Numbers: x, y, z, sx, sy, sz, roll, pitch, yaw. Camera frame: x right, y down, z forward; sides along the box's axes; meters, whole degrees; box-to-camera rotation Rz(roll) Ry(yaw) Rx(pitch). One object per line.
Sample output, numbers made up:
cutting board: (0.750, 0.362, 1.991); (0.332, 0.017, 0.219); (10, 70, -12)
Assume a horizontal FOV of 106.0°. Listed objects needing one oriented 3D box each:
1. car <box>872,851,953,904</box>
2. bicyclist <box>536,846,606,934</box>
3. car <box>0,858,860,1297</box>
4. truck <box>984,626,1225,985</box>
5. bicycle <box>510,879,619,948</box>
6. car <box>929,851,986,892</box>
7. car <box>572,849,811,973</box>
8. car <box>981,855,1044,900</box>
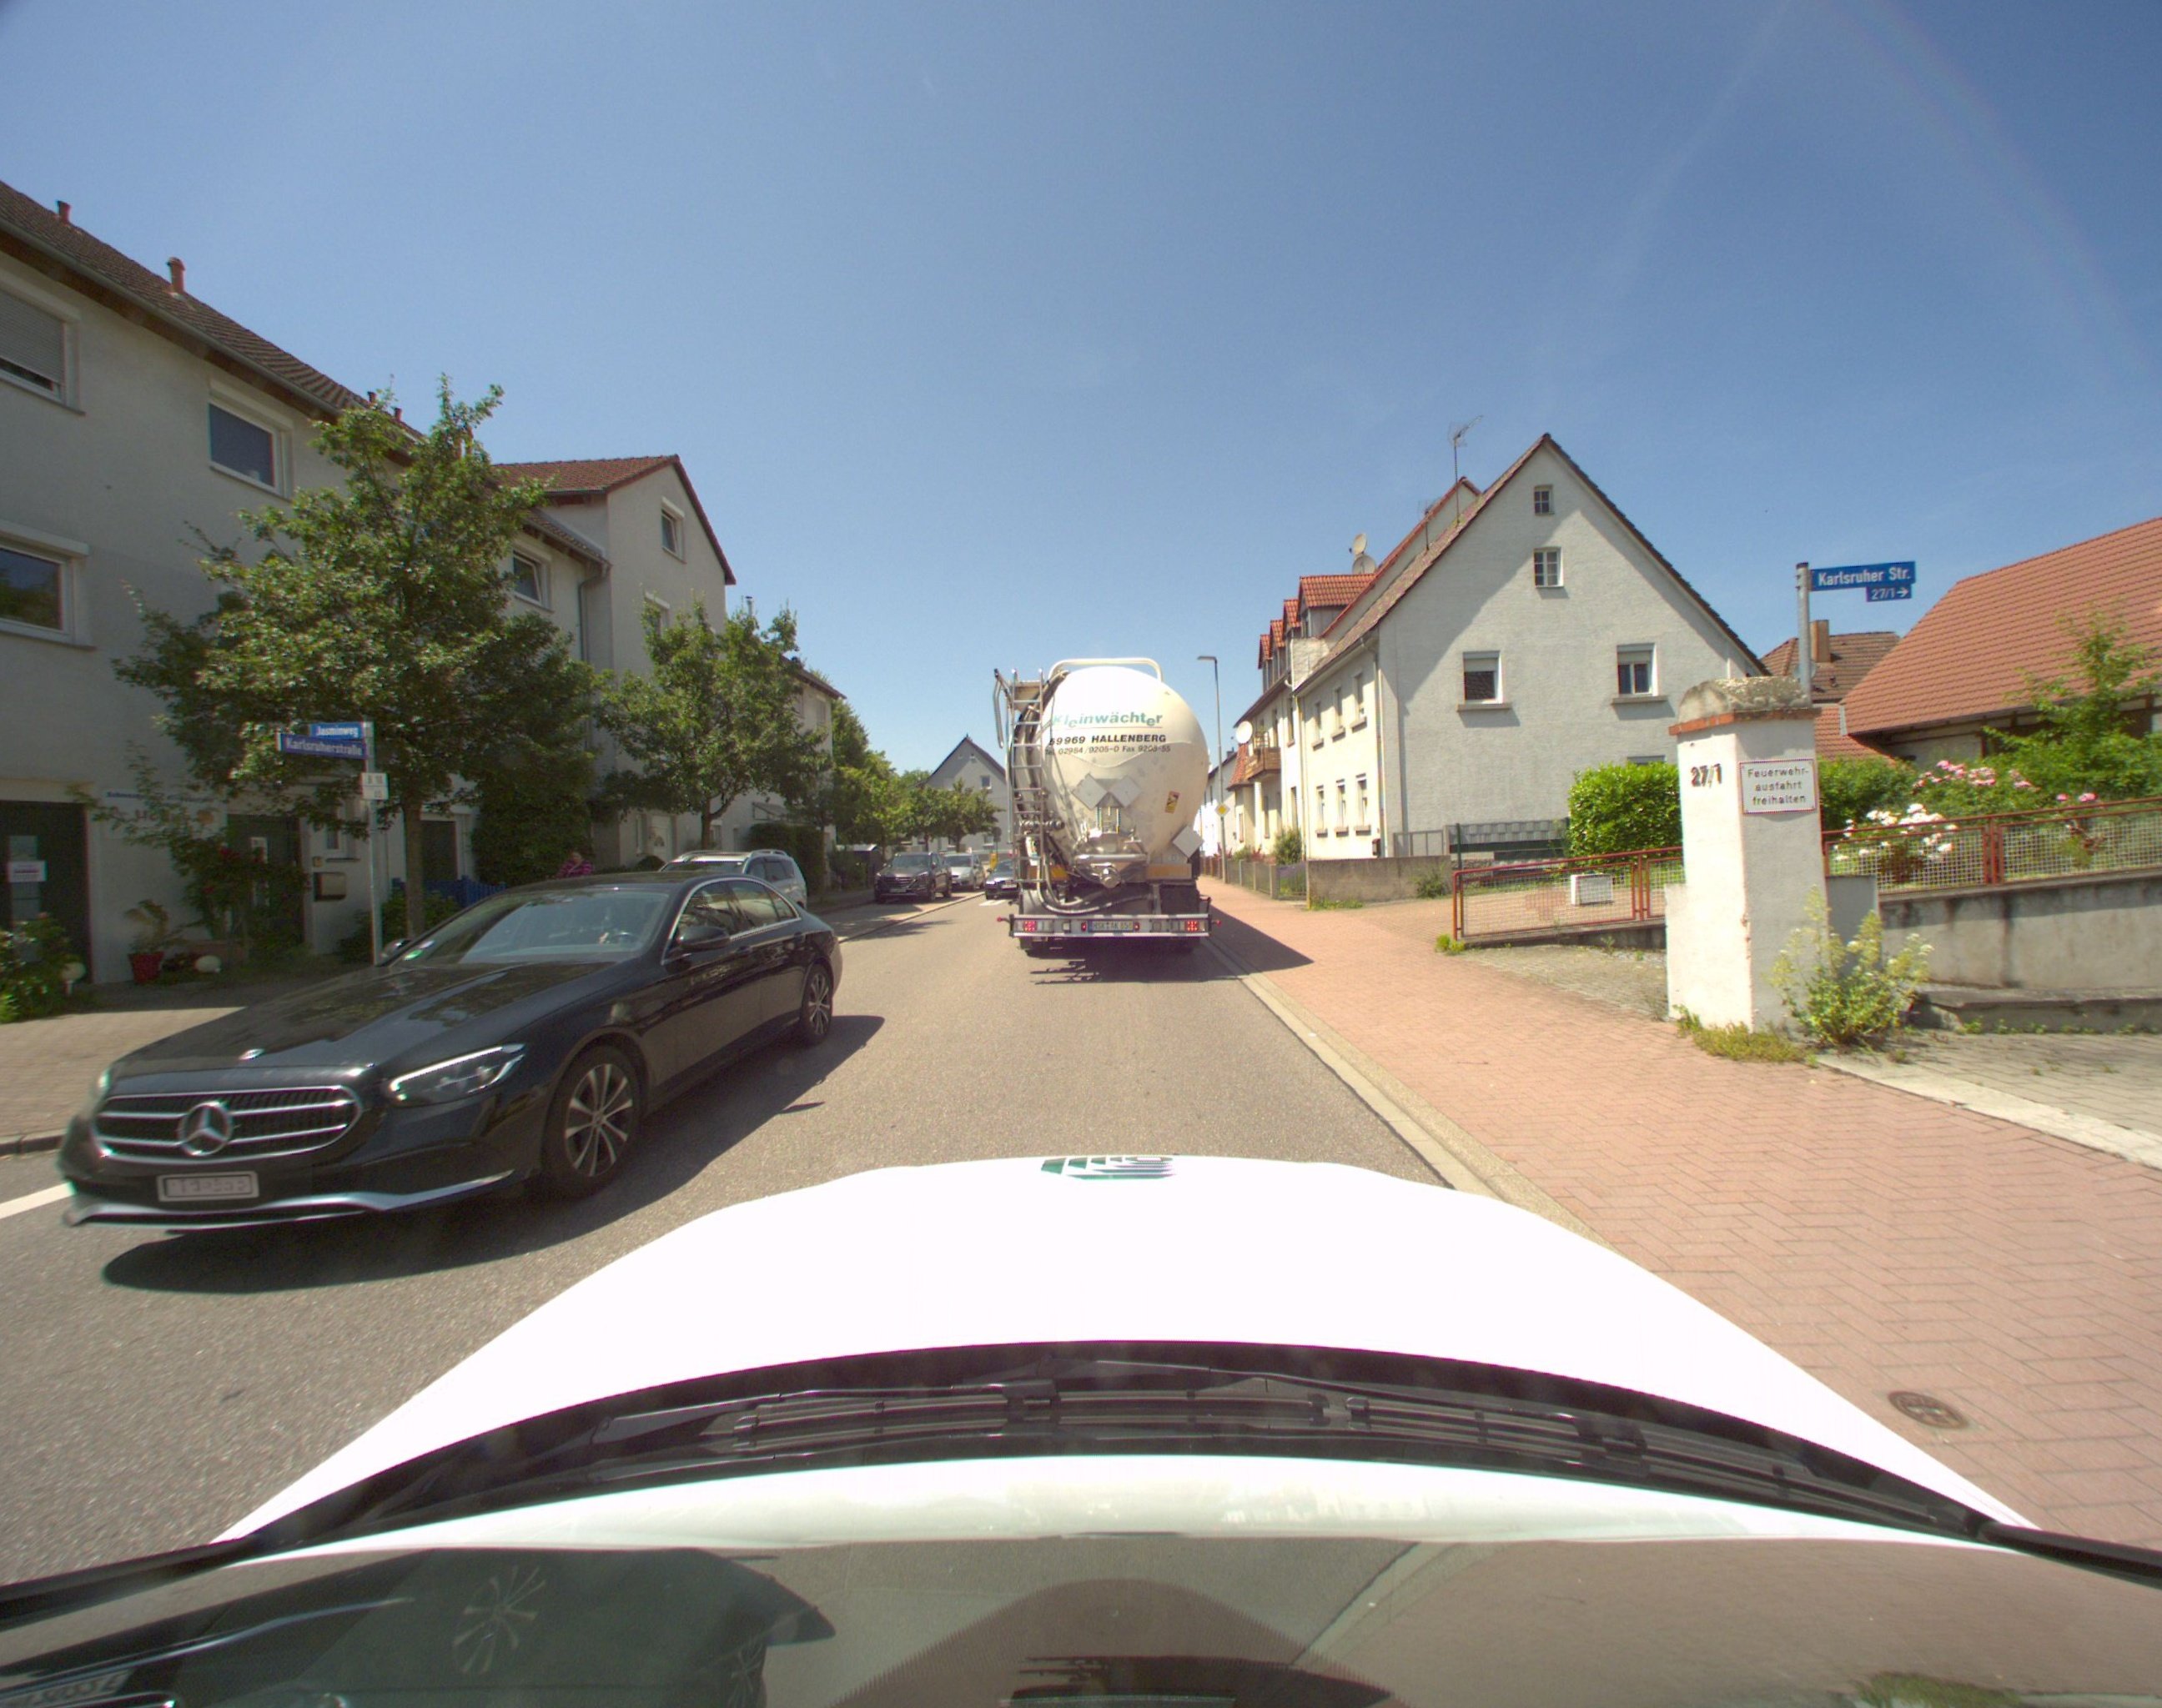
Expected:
car: (-5.573, 0.732, 27.386); (1.685, 1.620, 4.000); (-1, 0, 2)
bicyclist: (-8.952, 0.618, 14.329); (0.657, 1.494, 0.909); (1, 0, -2)
car: (-3.013, 0.822, 5.291); (1.724, 1.460, 4.695); (-3, 0, 1)
truck: (0.331, -0.579, 14.026); (2.632, 4.015, 9.562); (-2, 0, 1)
bicycle: (-8.948, 0.996, 14.218); (0.669, 1.056, 2.025); (-1, 0, -2)
car: (-5.110, 0.700, 34.151); (1.691, 1.580, 3.839); (-1, 0, 1)
car: (-6.141, 0.773, 13.541); (1.700, 1.686, 4.527); (-1, 0, 1)
car: (-2.381, 0.781, 29.243); (1.700, 1.370, 3.870); (-4, 0, 2)
